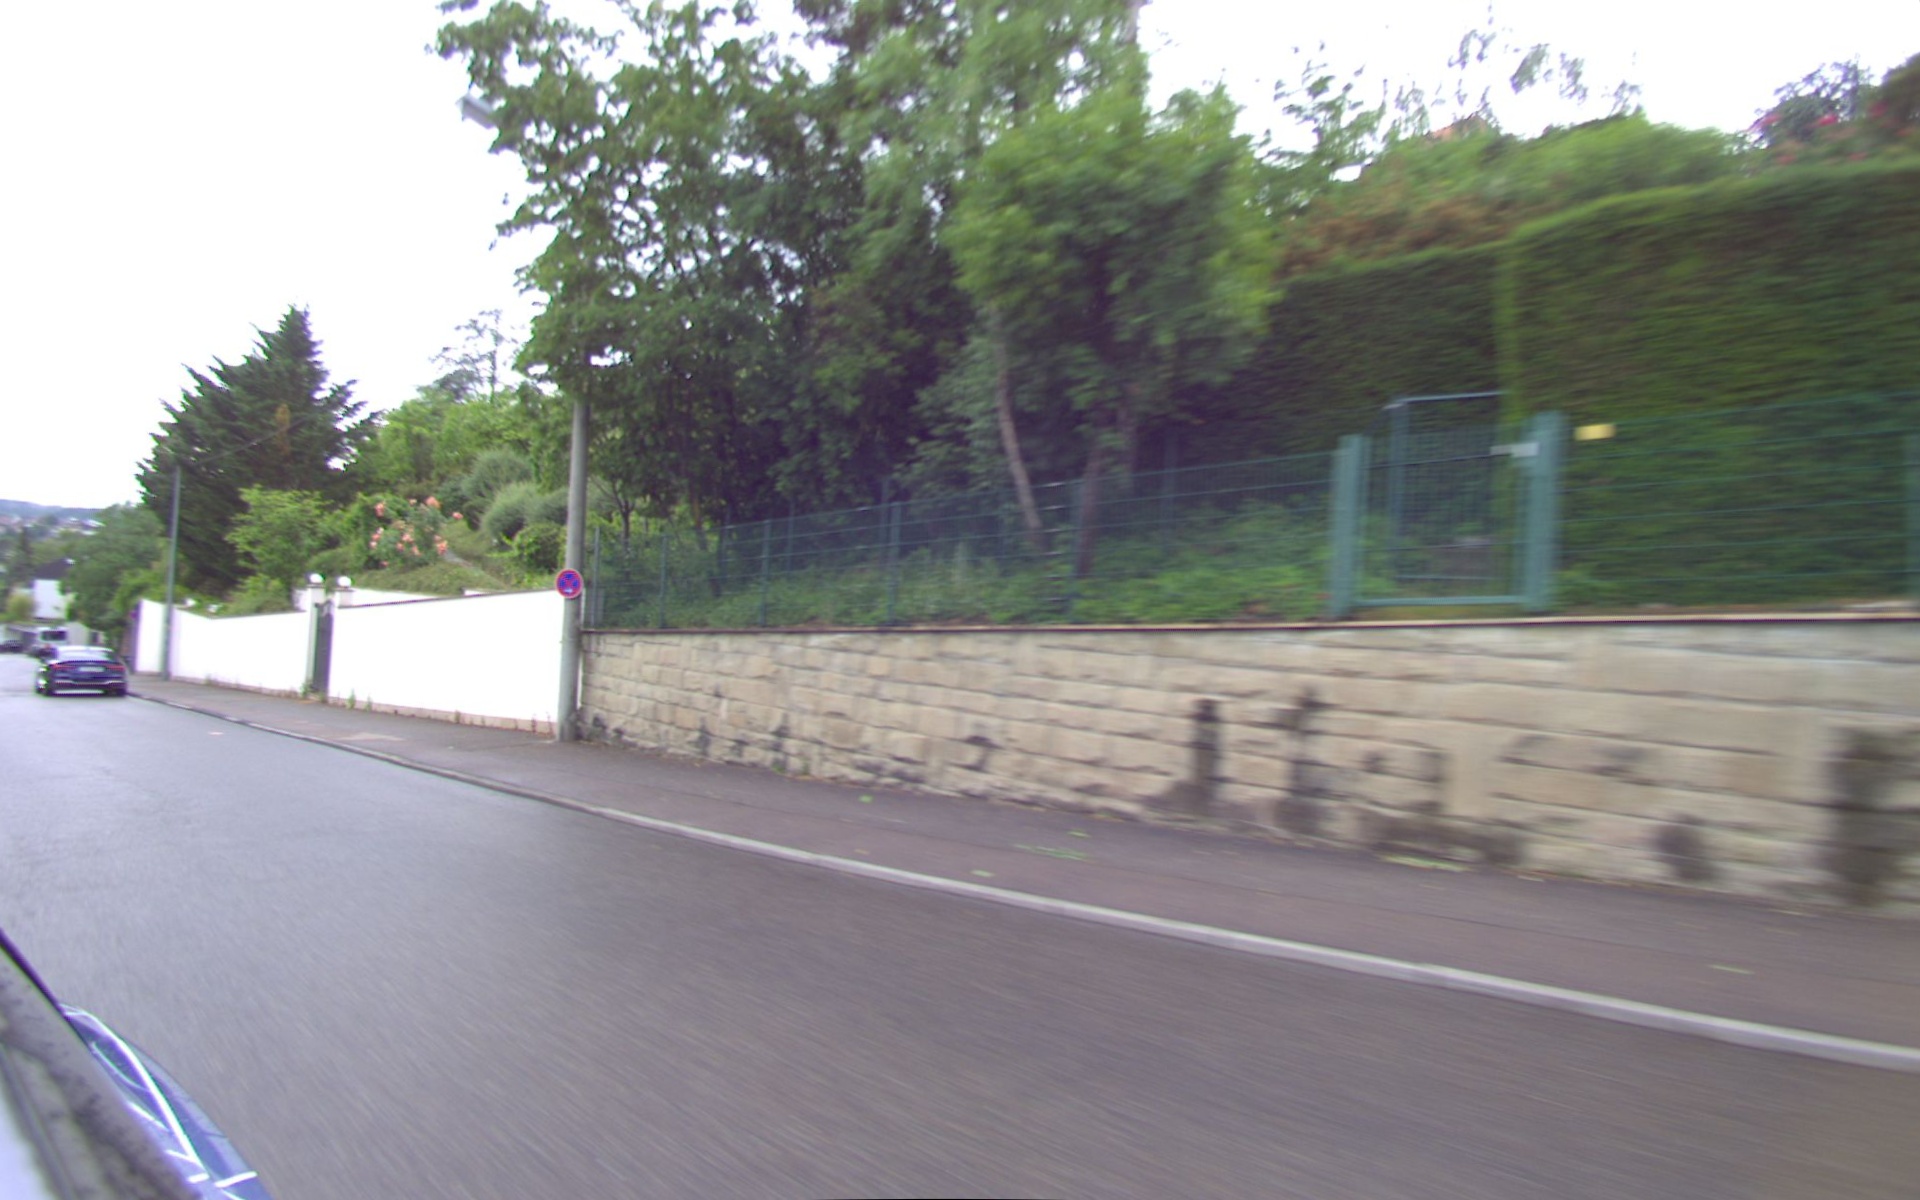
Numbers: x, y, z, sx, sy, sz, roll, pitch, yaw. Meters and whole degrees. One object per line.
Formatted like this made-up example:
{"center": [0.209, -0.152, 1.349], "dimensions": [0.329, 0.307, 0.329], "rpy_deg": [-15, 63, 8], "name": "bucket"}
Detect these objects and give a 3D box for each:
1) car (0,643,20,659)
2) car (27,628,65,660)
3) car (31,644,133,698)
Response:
{"center": [-94.257, 4.993, 99.716], "dimensions": [3.763, 1.509, 1.828], "rpy_deg": [-2, -4, 39], "name": "car"}
{"center": [-74.801, 3.626, 82.880], "dimensions": [2.078, 2.502, 4.570], "rpy_deg": [4, -5, -41], "name": "car"}
{"center": [-25.391, 2.014, 29.221], "dimensions": [4.255, 1.441, 1.787], "rpy_deg": [-3, -5, 44], "name": "car"}
